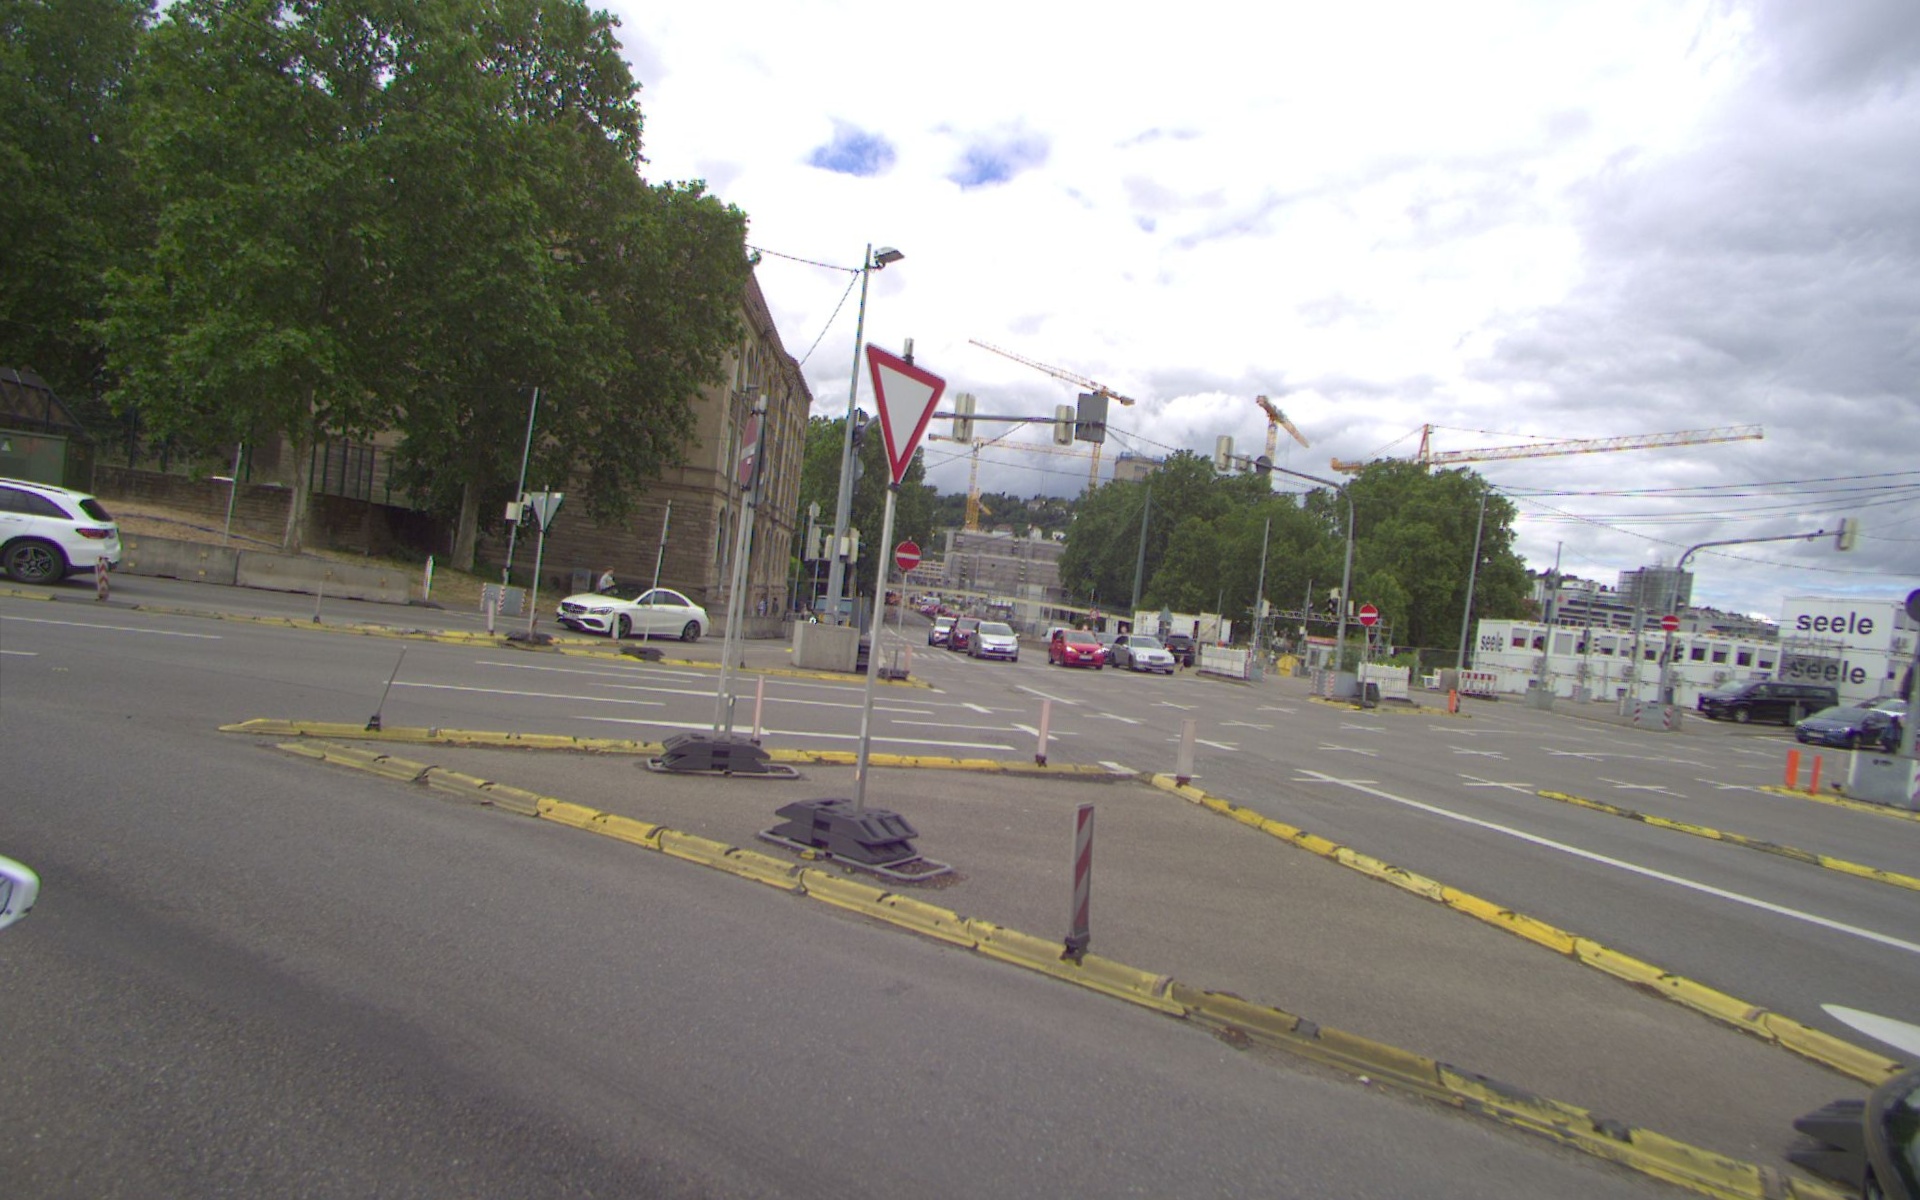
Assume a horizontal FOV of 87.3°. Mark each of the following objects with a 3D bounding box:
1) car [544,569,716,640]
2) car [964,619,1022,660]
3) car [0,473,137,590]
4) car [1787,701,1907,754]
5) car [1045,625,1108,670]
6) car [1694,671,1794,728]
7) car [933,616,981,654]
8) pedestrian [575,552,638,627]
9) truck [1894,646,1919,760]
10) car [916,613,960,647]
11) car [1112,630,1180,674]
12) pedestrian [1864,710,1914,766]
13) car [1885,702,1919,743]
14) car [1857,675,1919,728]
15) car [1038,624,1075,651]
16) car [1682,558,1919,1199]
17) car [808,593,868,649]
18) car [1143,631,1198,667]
[{"bbox_3d":[-8.701,0.176,26.944,1.709,1.453,4.377,8,0,25],"label":"car"},{"bbox_3d":[1.285,1.566,40.567,1.636,1.453,3.444,5,-1,-8],"label":"car"},{"bbox_3d":[-16.809,-1.362,16.715,4.508,1.663,1.801,8,1,-33],"label":"car"},{"bbox_3d":[32.695,4.699,37.086,4.017,1.453,1.775,7,1,-26],"label":"car"},{"bbox_3d":[4.561,1.827,39.733,1.661,1.453,3.443,6,0,-6],"label":"car"},{"bbox_3d":[36.199,4.583,46.445,3.953,2.039,1.985,7,1,-27],"label":"car"},{"bbox_3d":[-0.182,1.611,47.405,1.637,1.453,3.442,8,0,-8],"label":"car"},{"bbox_3d":[-10.438,-0.307,29.697,1.188,2.039,1.188,7,1,44],"label":"pedestrian"},{"bbox_3d":[36.181,3.941,34.437,8.914,3.722,2.891,6,1,-26],"label":"truck"},{"bbox_3d":[-1.232,1.622,55.084,1.807,1.587,3.995,5,-1,-9],"label":"car"},{"bbox_3d":[7.405,2.046,40.242,1.664,1.453,3.444,5,0,-6],"label":"car"},{"bbox_3d":[28.784,4.270,31.173,0.615,1.612,0.845,6,1,-28],"label":"pedestrian"},{"bbox_3d":[38.175,4.928,39.331,3.573,1.453,1.641,7,1,-26],"label":"car"},{"bbox_3d":[44.054,4.824,46.615,4.110,2.039,1.988,8,1,-23],"label":"car"},{"bbox_3d":[7.254,2.839,76.176,1.735,1.708,3.636,7,0,-10],"label":"car"},{"bbox_3d":[3.085,1.063,0.297,4.536,1.669,1.950,7,1,35],"label":"car"},{"bbox_3d":[-4.843,0.895,40.290,1.902,1.960,3.677,4,-3,-1],"label":"car"},{"bbox_3d":[11.694,2.698,56.032,1.910,1.687,3.640,7,0,-4],"label":"car"}]
